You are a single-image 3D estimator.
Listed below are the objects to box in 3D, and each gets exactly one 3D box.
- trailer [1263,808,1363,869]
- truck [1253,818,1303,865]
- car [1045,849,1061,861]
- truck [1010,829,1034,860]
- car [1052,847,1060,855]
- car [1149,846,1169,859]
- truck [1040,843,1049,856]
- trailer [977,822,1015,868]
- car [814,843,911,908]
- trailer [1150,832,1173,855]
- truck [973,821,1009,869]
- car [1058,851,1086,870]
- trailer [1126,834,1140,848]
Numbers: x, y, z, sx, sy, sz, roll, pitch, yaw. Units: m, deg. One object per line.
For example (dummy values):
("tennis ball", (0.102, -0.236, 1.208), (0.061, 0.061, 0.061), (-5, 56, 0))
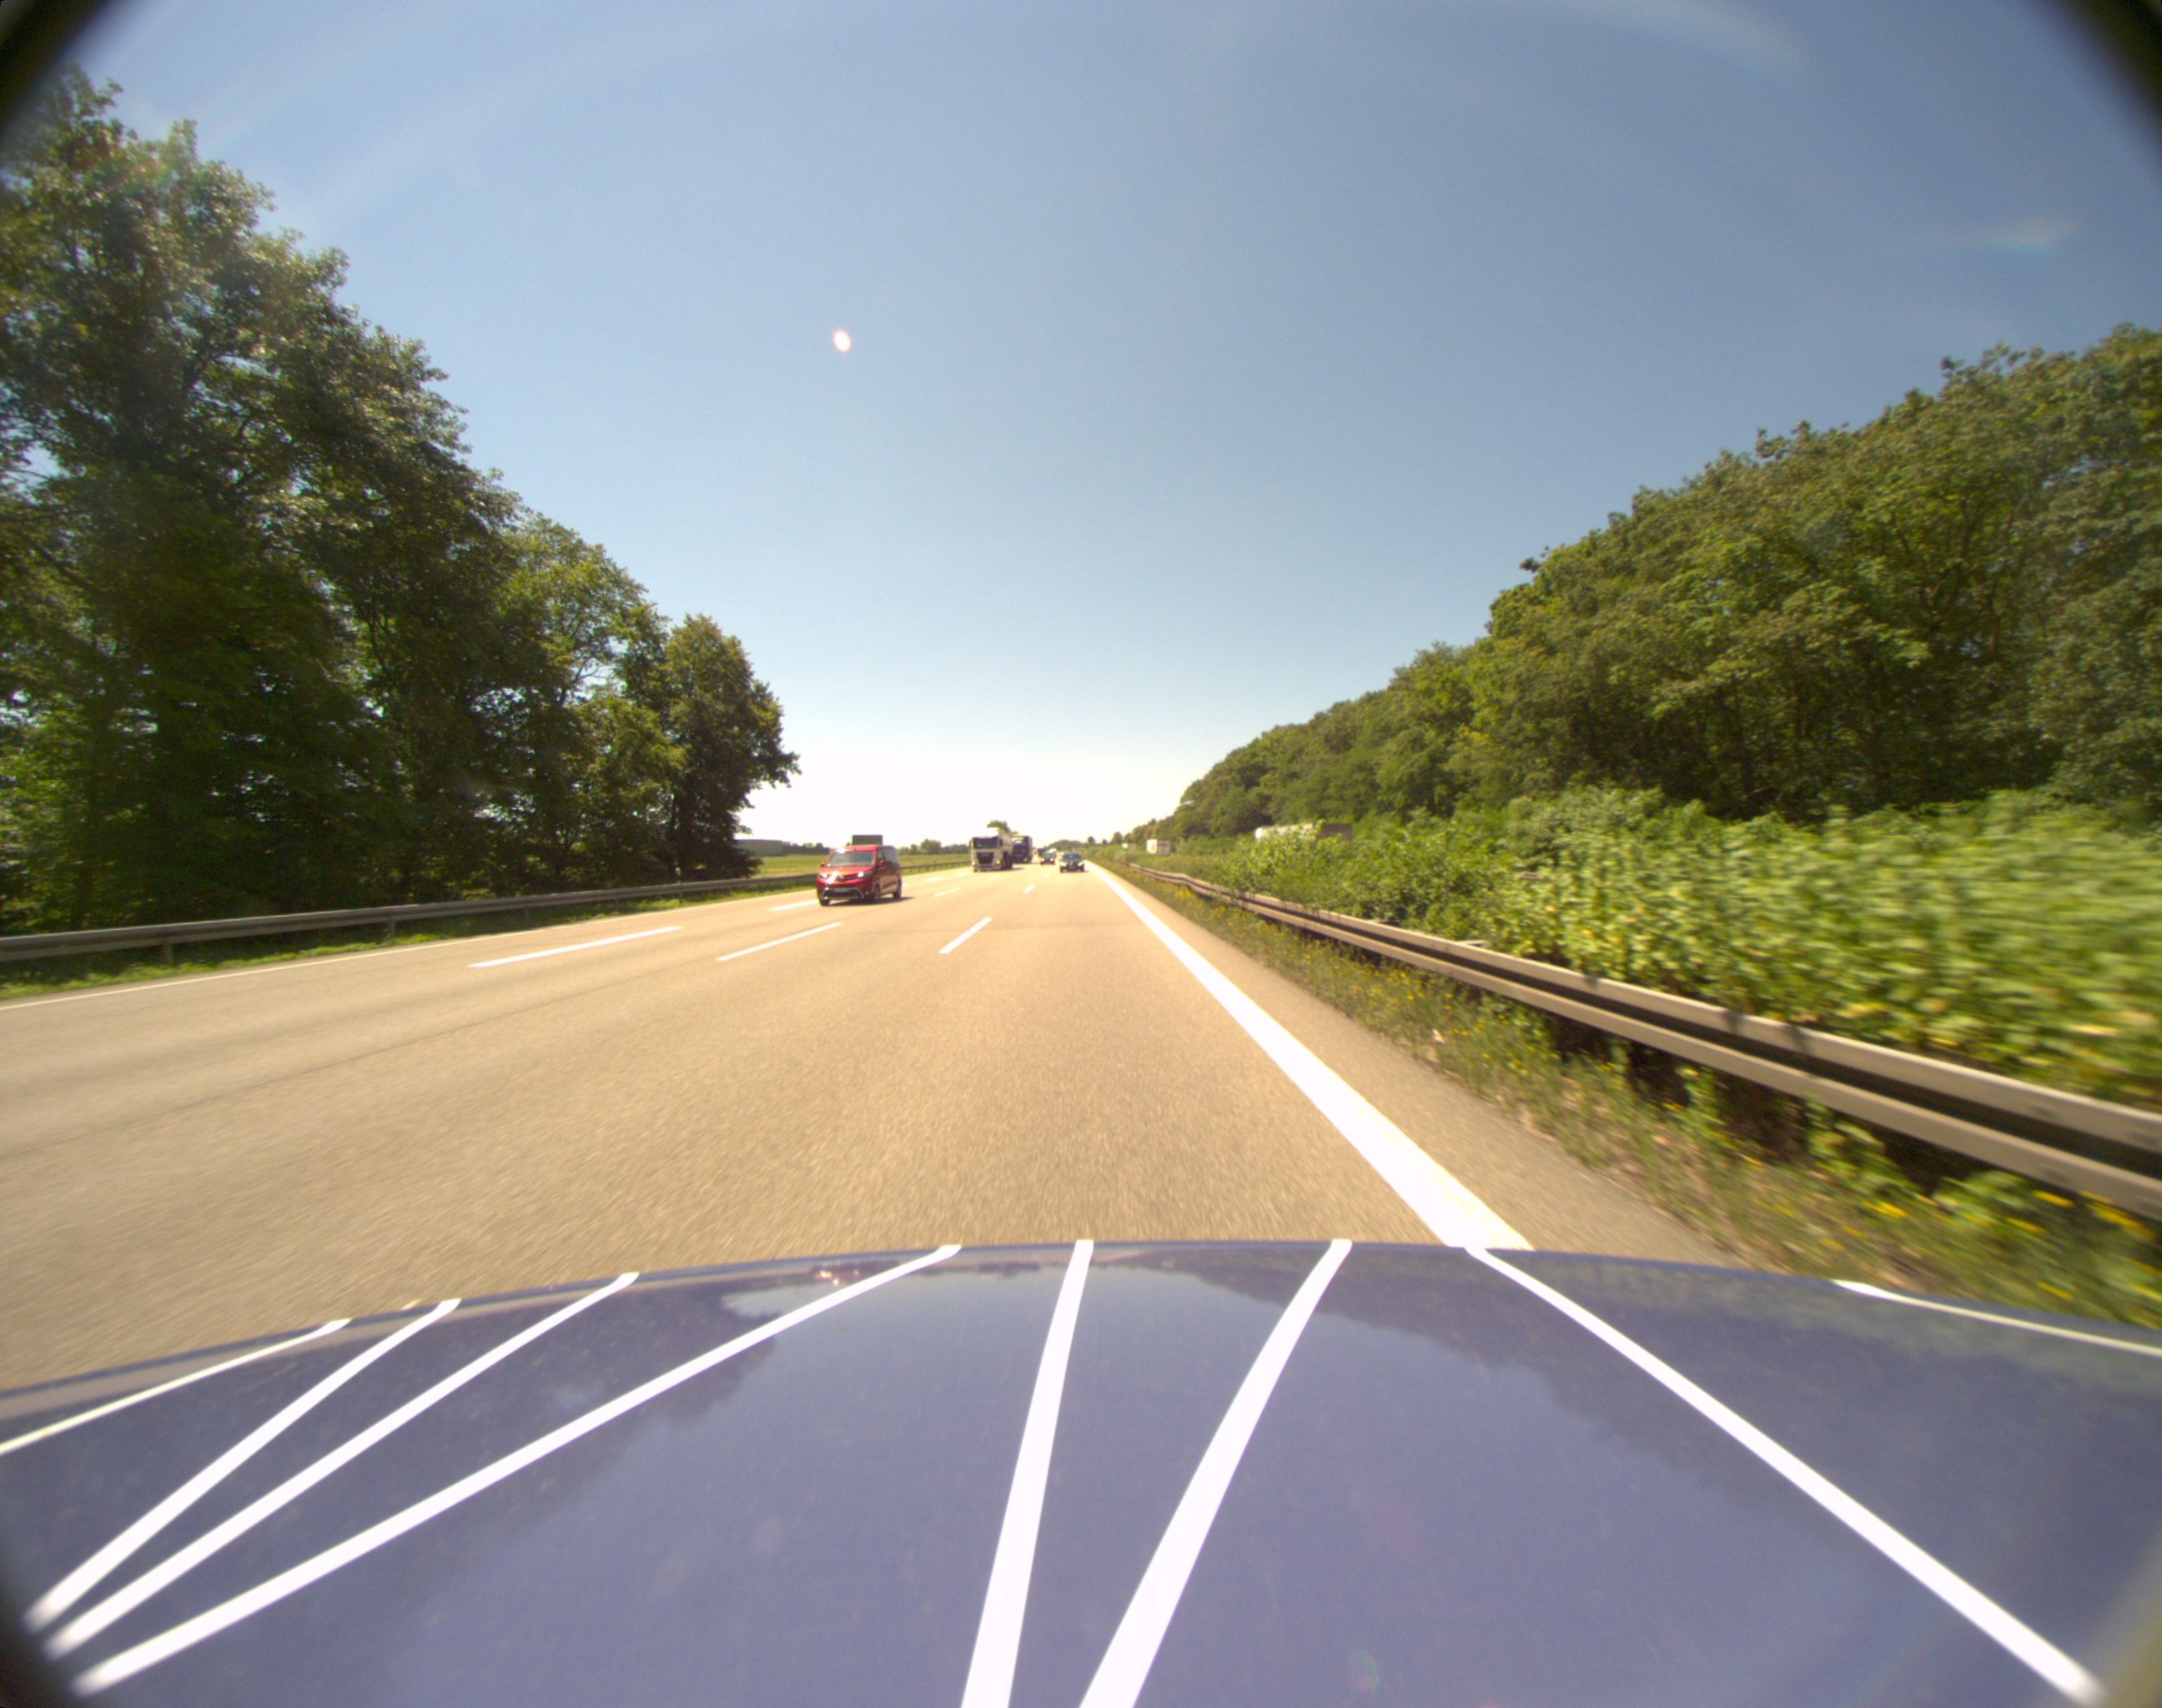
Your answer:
("trailer", (16.534, -1.039, 55.576), (2.917, 3.855, 13.639), (-1, 1, -1))
("truck", (16.561, -1.053, 64.187), (2.789, 3.801, 4.883), (-1, 1, -1))
("car", (-3.524, 0.152, 93.598), (1.841, 1.409, 4.495), (-1, 0, -3))
("truck", (-8.464, -1.344, 109.932), (2.798, 4.180, 10.804), (-1, 0, -1))
("car", (-6.408, -0.768, 193.843), (1.999, 2.002, 3.999), (-1, 1, -2))
("car", (9.036, -0.219, 88.490), (1.816, 1.397, 4.014), (-1, 1, -2))
("truck", (-12.128, -1.486, 251.051), (2.798, 4.180, 10.802), (-1, 0, -3))
("trailer", (-8.414, -0.887, 76.605), (2.798, 4.180, 12.349), (-1, 0, -2))
("car", (-7.595, 0.670, 27.024), (1.861, 1.991, 5.520), (-2, 1, -1))
("trailer", (15.308, -1.986, 145.553), (2.928, 4.026, 12.913), (-1, 1, 0))
("truck", (-8.130, -0.832, 69.097), (2.798, 4.180, 4.998), (-1, 1, -2))
("car", (-0.725, 0.483, 57.740), (1.887, 1.341, 4.465), (-1, 0, -3))
("trailer", (14.444, -3.567, 211.541), (2.841, 4.011, 12.911), (0, 1, -1))
